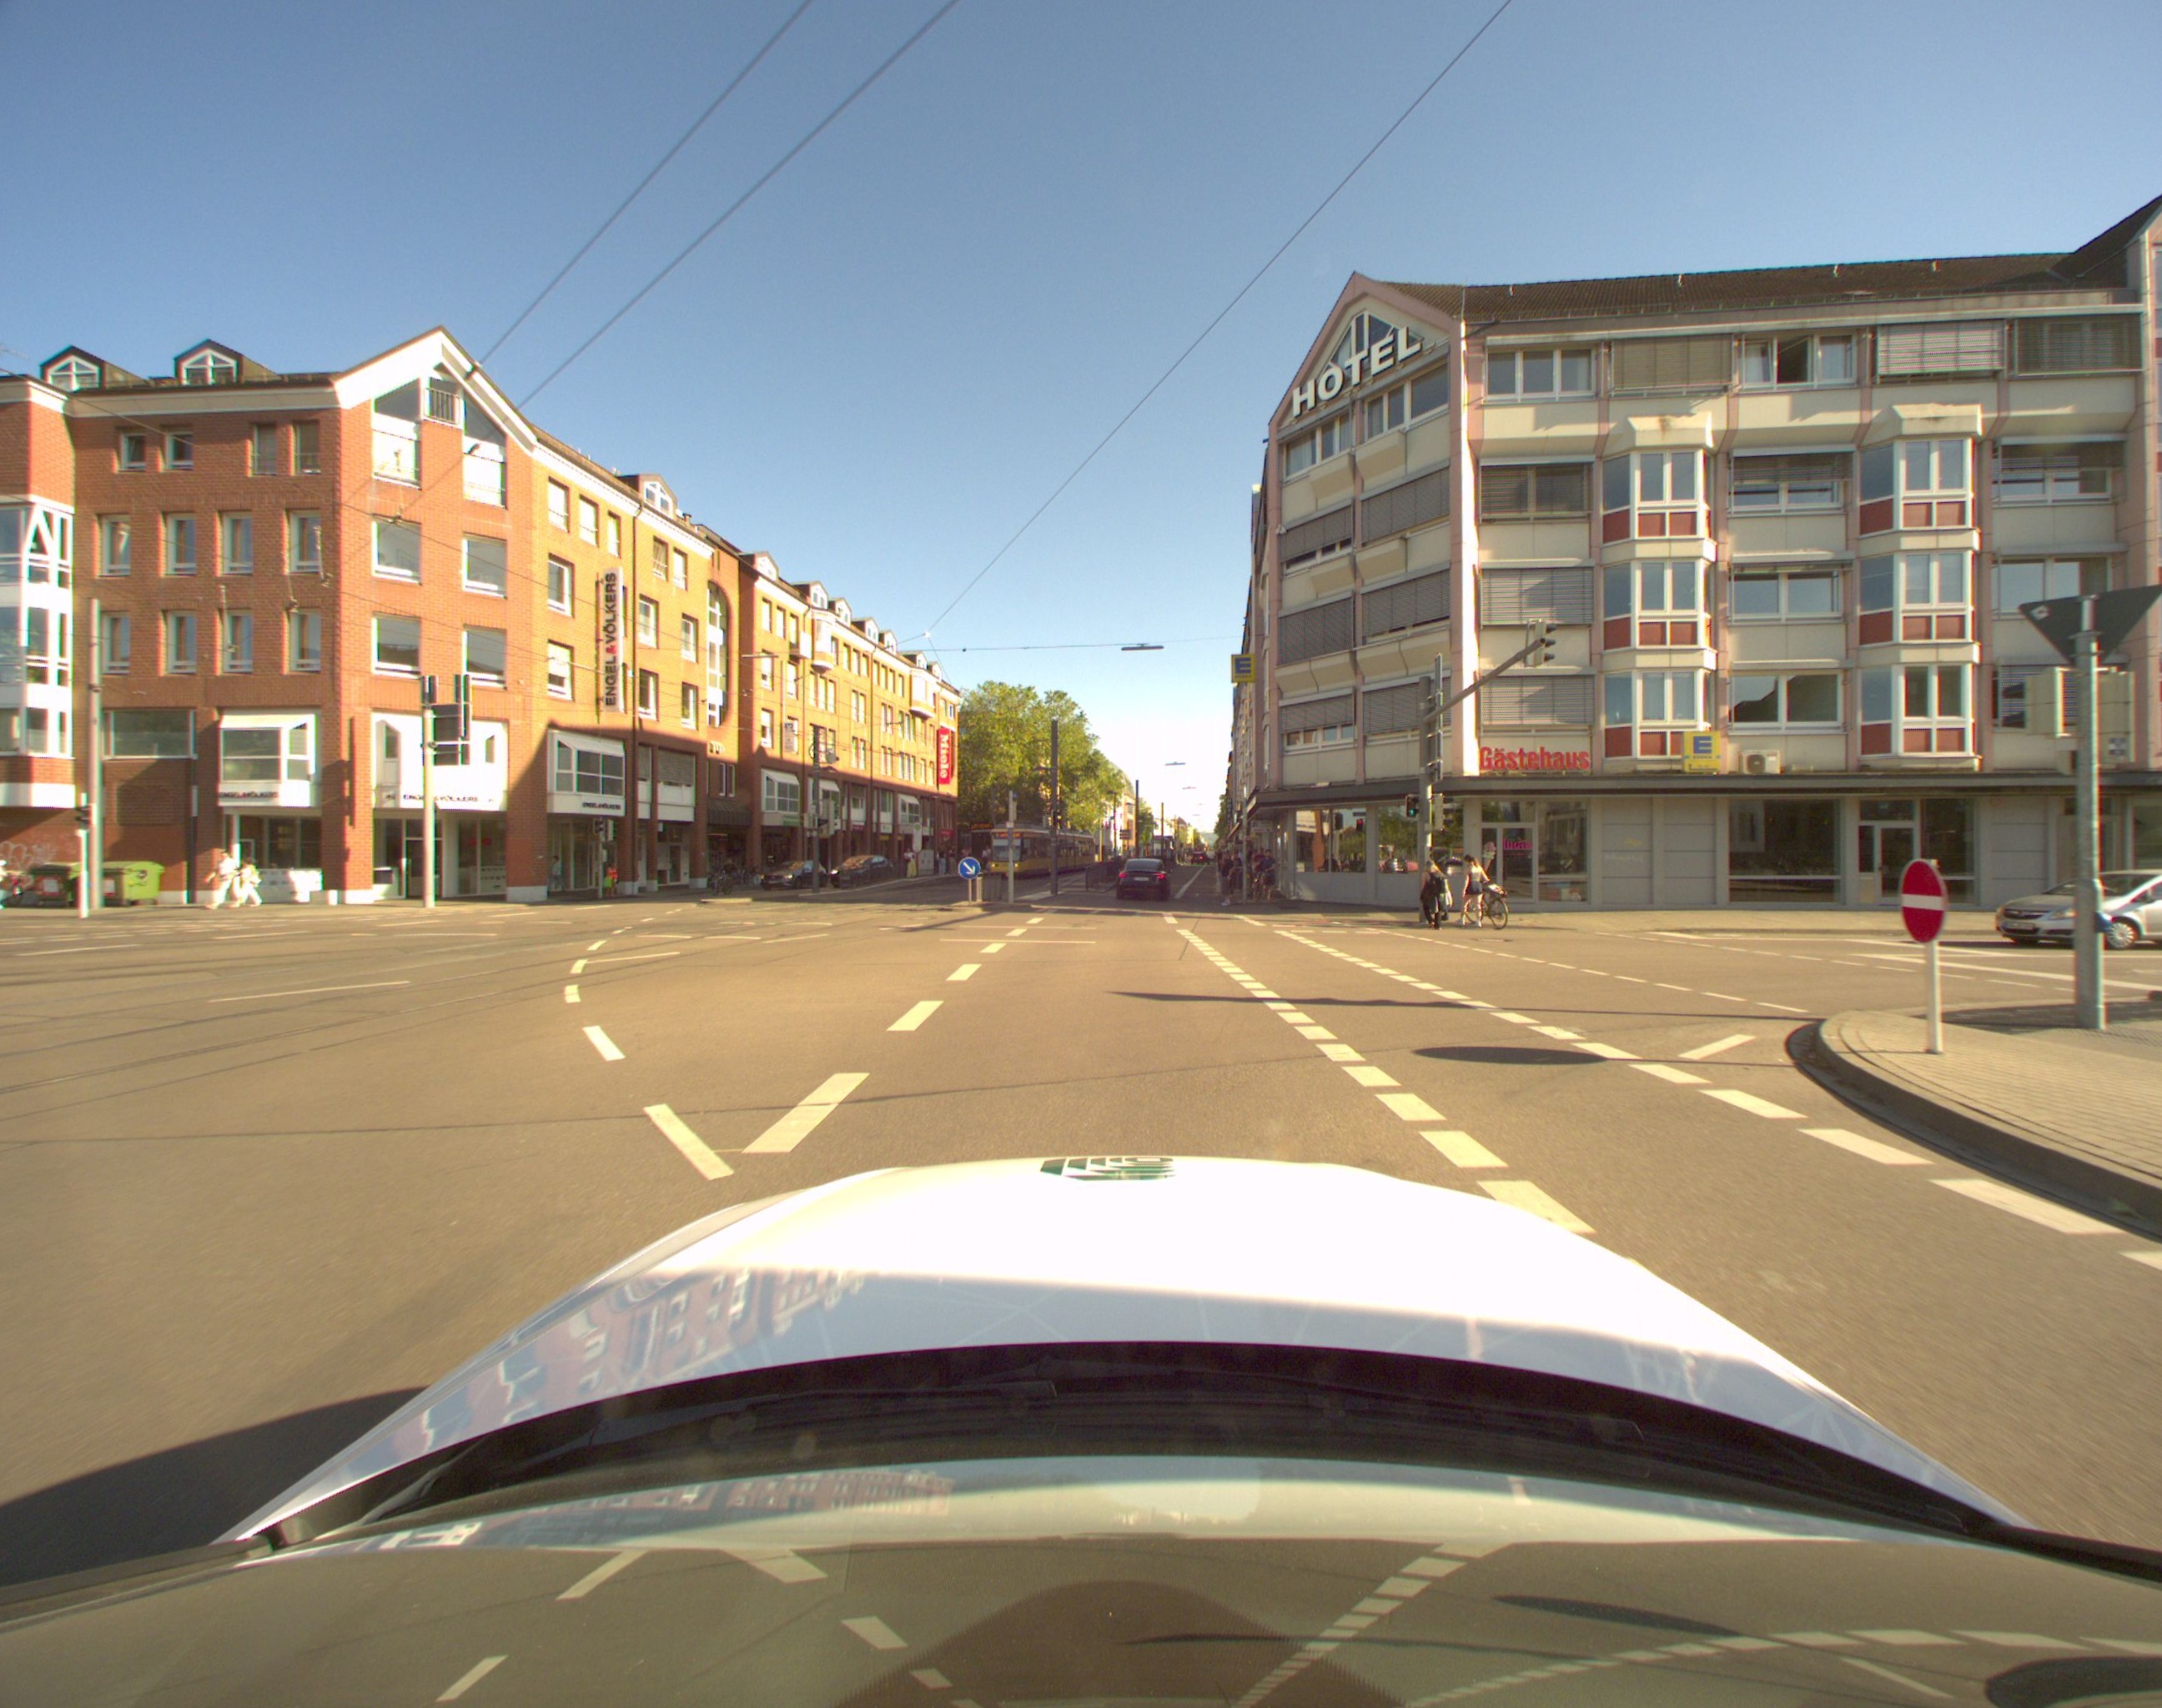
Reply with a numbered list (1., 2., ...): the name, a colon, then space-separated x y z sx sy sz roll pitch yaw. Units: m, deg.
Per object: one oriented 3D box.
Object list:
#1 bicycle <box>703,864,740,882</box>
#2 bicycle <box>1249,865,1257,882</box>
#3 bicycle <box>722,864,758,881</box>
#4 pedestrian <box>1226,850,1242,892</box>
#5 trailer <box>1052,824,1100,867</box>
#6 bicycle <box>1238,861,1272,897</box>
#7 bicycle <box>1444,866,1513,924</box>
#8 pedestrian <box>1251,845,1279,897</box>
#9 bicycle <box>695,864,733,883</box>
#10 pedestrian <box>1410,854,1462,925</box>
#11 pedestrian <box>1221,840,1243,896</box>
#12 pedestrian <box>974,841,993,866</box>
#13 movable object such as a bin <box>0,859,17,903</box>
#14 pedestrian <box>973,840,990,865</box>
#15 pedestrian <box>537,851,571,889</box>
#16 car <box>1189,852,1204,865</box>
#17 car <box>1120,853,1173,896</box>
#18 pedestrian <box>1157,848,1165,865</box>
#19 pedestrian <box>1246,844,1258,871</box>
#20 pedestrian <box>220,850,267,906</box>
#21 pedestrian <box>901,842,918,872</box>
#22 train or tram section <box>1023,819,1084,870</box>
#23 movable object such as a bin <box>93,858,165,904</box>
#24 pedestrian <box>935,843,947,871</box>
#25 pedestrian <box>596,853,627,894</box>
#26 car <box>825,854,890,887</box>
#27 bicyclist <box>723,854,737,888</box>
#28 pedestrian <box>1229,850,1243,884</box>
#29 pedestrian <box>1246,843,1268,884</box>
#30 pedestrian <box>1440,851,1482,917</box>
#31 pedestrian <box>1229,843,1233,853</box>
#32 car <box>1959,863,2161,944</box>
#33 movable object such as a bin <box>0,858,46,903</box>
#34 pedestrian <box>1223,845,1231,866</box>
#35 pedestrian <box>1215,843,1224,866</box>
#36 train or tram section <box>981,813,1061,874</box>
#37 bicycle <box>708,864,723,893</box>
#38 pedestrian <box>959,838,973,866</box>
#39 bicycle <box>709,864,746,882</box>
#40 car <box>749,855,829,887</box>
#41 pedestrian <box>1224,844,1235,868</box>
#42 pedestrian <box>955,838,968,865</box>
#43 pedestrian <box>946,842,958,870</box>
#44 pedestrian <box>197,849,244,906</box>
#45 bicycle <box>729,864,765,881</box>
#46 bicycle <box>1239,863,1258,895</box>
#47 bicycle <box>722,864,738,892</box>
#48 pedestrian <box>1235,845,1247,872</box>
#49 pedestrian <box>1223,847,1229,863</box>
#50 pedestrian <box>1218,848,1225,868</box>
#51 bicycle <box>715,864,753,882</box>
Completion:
1. bicycle: -18.308 0.973 41.481 1.701 0.900 0.522 0 0 7
2. bicycle: 8.919 0.984 42.276 0.412 0.856 1.241 0 0 11
3. bicycle: -18.091 0.987 43.208 1.701 0.900 0.522 0 0 7
4. pedestrian: 5.778 0.629 30.787 0.471 1.562 0.544 1 0 -7
5. trailer: -0.304 -0.685 71.704 2.697 3.546 9.383 0 0 9
6. bicycle: 6.007 0.846 28.195 0.488 1.161 1.968 1 0 -8
7. bicycle: 9.513 0.961 19.580 0.543 1.284 1.903 1 0 -7
8. pedestrian: 6.365 0.565 28.144 0.908 1.754 0.843 0 0 15
9. bicycle: -18.405 0.977 40.803 1.701 0.900 0.522 0 0 7
10. pedestrian: 8.225 0.796 18.876 0.777 1.576 0.867 1 1 -3
11. pedestrian: 4.958 0.455 26.847 0.623 1.782 0.919 0 0 5
12. pedestrian: -6.490 -0.054 54.297 1.101 1.624 0.848 0 0 1
13. movable object such as a bin: -36.263 0.900 26.806 0.992 1.436 1.097 0 0 2
14. pedestrian: -6.497 -0.094 53.334 0.995 1.624 0.848 0 0 1
15. pedestrian: -22.150 0.665 34.236 0.876 1.568 0.869 0 0 30
16. car: 15.702 0.625 110.537 1.725 1.664 3.721 0 0 12
17. car: 2.399 0.713 29.988 1.782 1.451 3.944 1 0 4
18. pedestrian: 8.402 0.221 85.663 0.753 1.769 0.700 0 0 8
19. pedestrian: 10.717 0.242 50.995 0.743 1.677 0.701 0 0 10
20. pedestrian: -26.165 0.744 25.450 0.685 1.727 0.712 0 0 3
21. pedestrian: -8.912 0.161 42.287 0.630 1.564 0.588 0 0 17
22. train or tram section: -1.907 -0.658 62.066 2.697 3.546 10.195 0 0 9
23. movable object such as a bin: -30.798 0.864 26.368 0.992 1.436 1.097 0 0 2
24. pedestrian: -7.591 0.152 44.128 0.582 1.531 0.637 1 0 -2
25. pedestrian: -19.217 0.794 33.344 0.708 1.594 0.779 3 0 9
26. car: -11.287 0.812 41.393 1.807 1.544 3.800 -2 0 7
27. bicyclist: -15.075 0.723 34.976 0.484 1.470 0.713 1 0 -27
28. pedestrian: 7.679 0.647 40.390 0.692 1.677 0.752 0 0 10
29. pedestrian: 7.271 0.389 33.648 0.685 1.688 0.670 1 0 -5
30. pedestrian: 9.202 0.711 19.730 0.525 1.554 0.865 1 0 -8
31. pedestrian: 26.936 -1.062 146.529 0.692 1.878 0.752 0 0 10
32. car: 19.544 0.909 15.357 3.821 1.432 1.806 0 -2 6
33. movable object such as a bin: -35.224 0.843 26.769 0.992 1.436 1.097 0 0 2
34. pedestrian: 13.611 0.155 75.912 0.692 1.896 0.752 0 0 10
35. pedestrian: 11.790 0.035 69.206 0.692 1.896 0.752 0 0 10
36. train or tram section: -3.598 -0.618 52.071 2.712 3.542 10.114 0 0 10
37. bicycle: -15.536 1.022 34.634 0.493 1.158 1.701 1 0 -27
38. pedestrian: -7.301 -0.135 51.771 0.630 1.721 0.612 0 0 18
39. bicycle: -18.239 0.981 42.063 1.701 0.900 0.522 0 0 7
40. car: -14.377 0.803 40.293 1.804 1.454 3.992 -2 0 13
41. pedestrian: 10.469 0.133 57.455 0.692 1.677 0.752 0 0 10
42. pedestrian: -7.504 -0.156 51.179 0.630 1.721 0.588 0 0 18
43. pedestrian: -7.736 0.120 48.937 0.634 1.721 0.584 1 0 -6
44. pedestrian: -26.941 0.723 25.505 0.685 1.727 0.712 0 0 3
45. bicycle: -17.996 0.988 43.874 1.701 0.900 0.522 0 0 7
46. bicycle: 6.266 0.906 30.350 0.484 1.102 2.134 0 0 17
47. bicycle: -15.040 1.026 34.890 0.493 1.158 1.667 1 0 -27
48. pedestrian: 9.792 0.265 49.957 0.692 1.677 0.752 0 0 10
49. pedestrian: 16.819 0.135 94.500 0.692 1.896 0.752 0 0 10
50. pedestrian: 13.453 0.374 78.102 0.692 1.896 0.752 0 0 10
51. bicycle: -18.170 0.994 42.654 1.750 0.900 0.587 0 0 7
